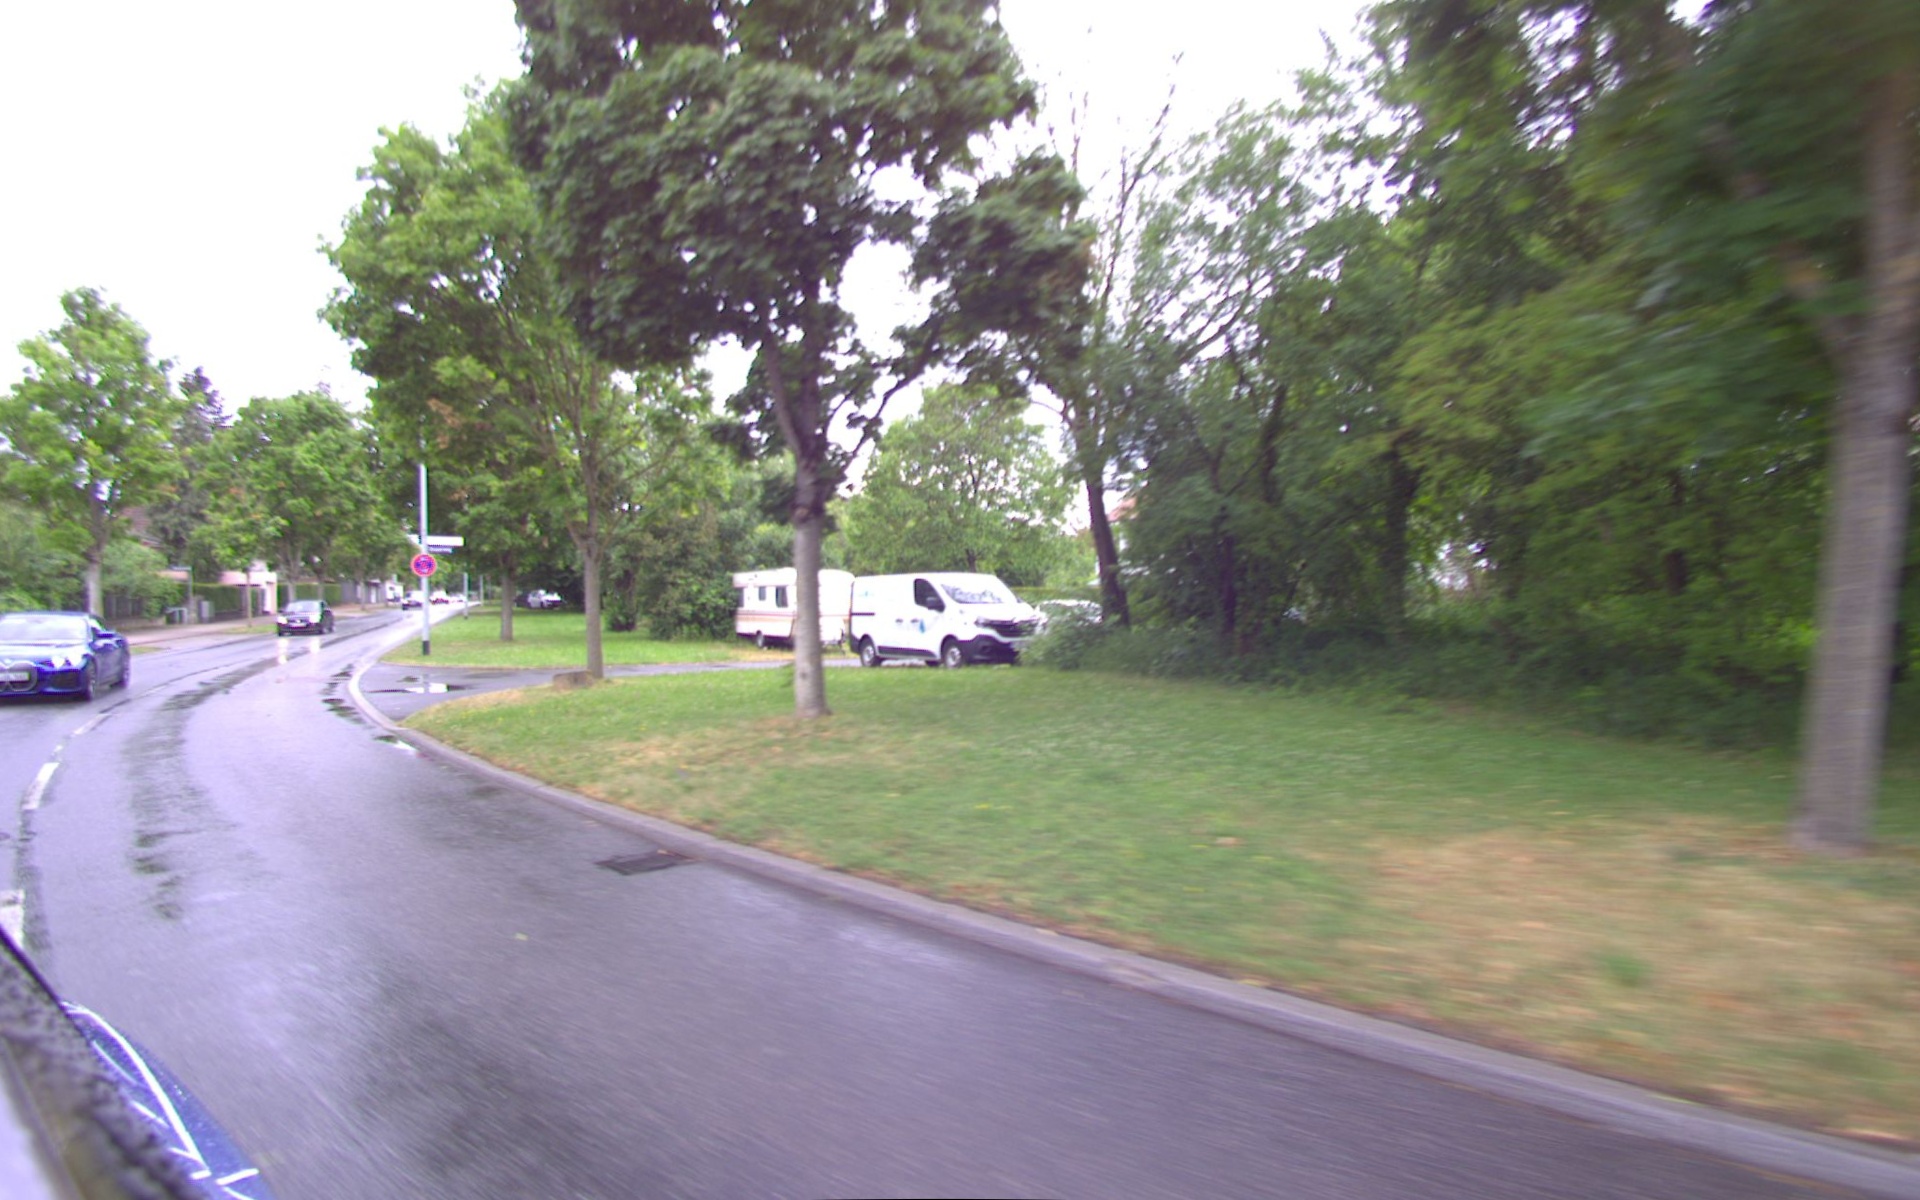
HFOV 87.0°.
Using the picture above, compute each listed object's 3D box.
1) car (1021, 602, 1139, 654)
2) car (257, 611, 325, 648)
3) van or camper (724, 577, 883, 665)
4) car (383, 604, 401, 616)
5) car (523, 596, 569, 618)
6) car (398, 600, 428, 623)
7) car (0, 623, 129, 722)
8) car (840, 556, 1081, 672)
[{"bbox_3d":[4.094,0.920,35.272,1.827,1.593,4.365,0,1,-30],"label":"car"},{"bbox_3d":[-29.163,1.239,44.242,1.897,1.392,4.322,-3,2,-26],"label":"car"},{"bbox_3d":[-4.984,0.572,31.037,2.351,2.378,6.831,0,0,-31],"label":"van or camper"},{"bbox_3d":[-78.091,1.372,139.202,1.638,1.432,4.013,-3,1,-23],"label":"car"},{"bbox_3d":[-30.239,0.520,73.888,1.858,1.441,4.222,0,-2,-41],"label":"car"},{"bbox_3d":[-49.087,0.980,90.899,1.965,1.872,4.013,-3,2,-24],"label":"car"},{"bbox_3d":[-15.841,1.168,17.408,1.786,1.479,3.986,1,-1,-31],"label":"car"},{"bbox_3d":[-0.199,0.404,20.451,2.099,2.001,5.488,1,-4,-35],"label":"car"}]
